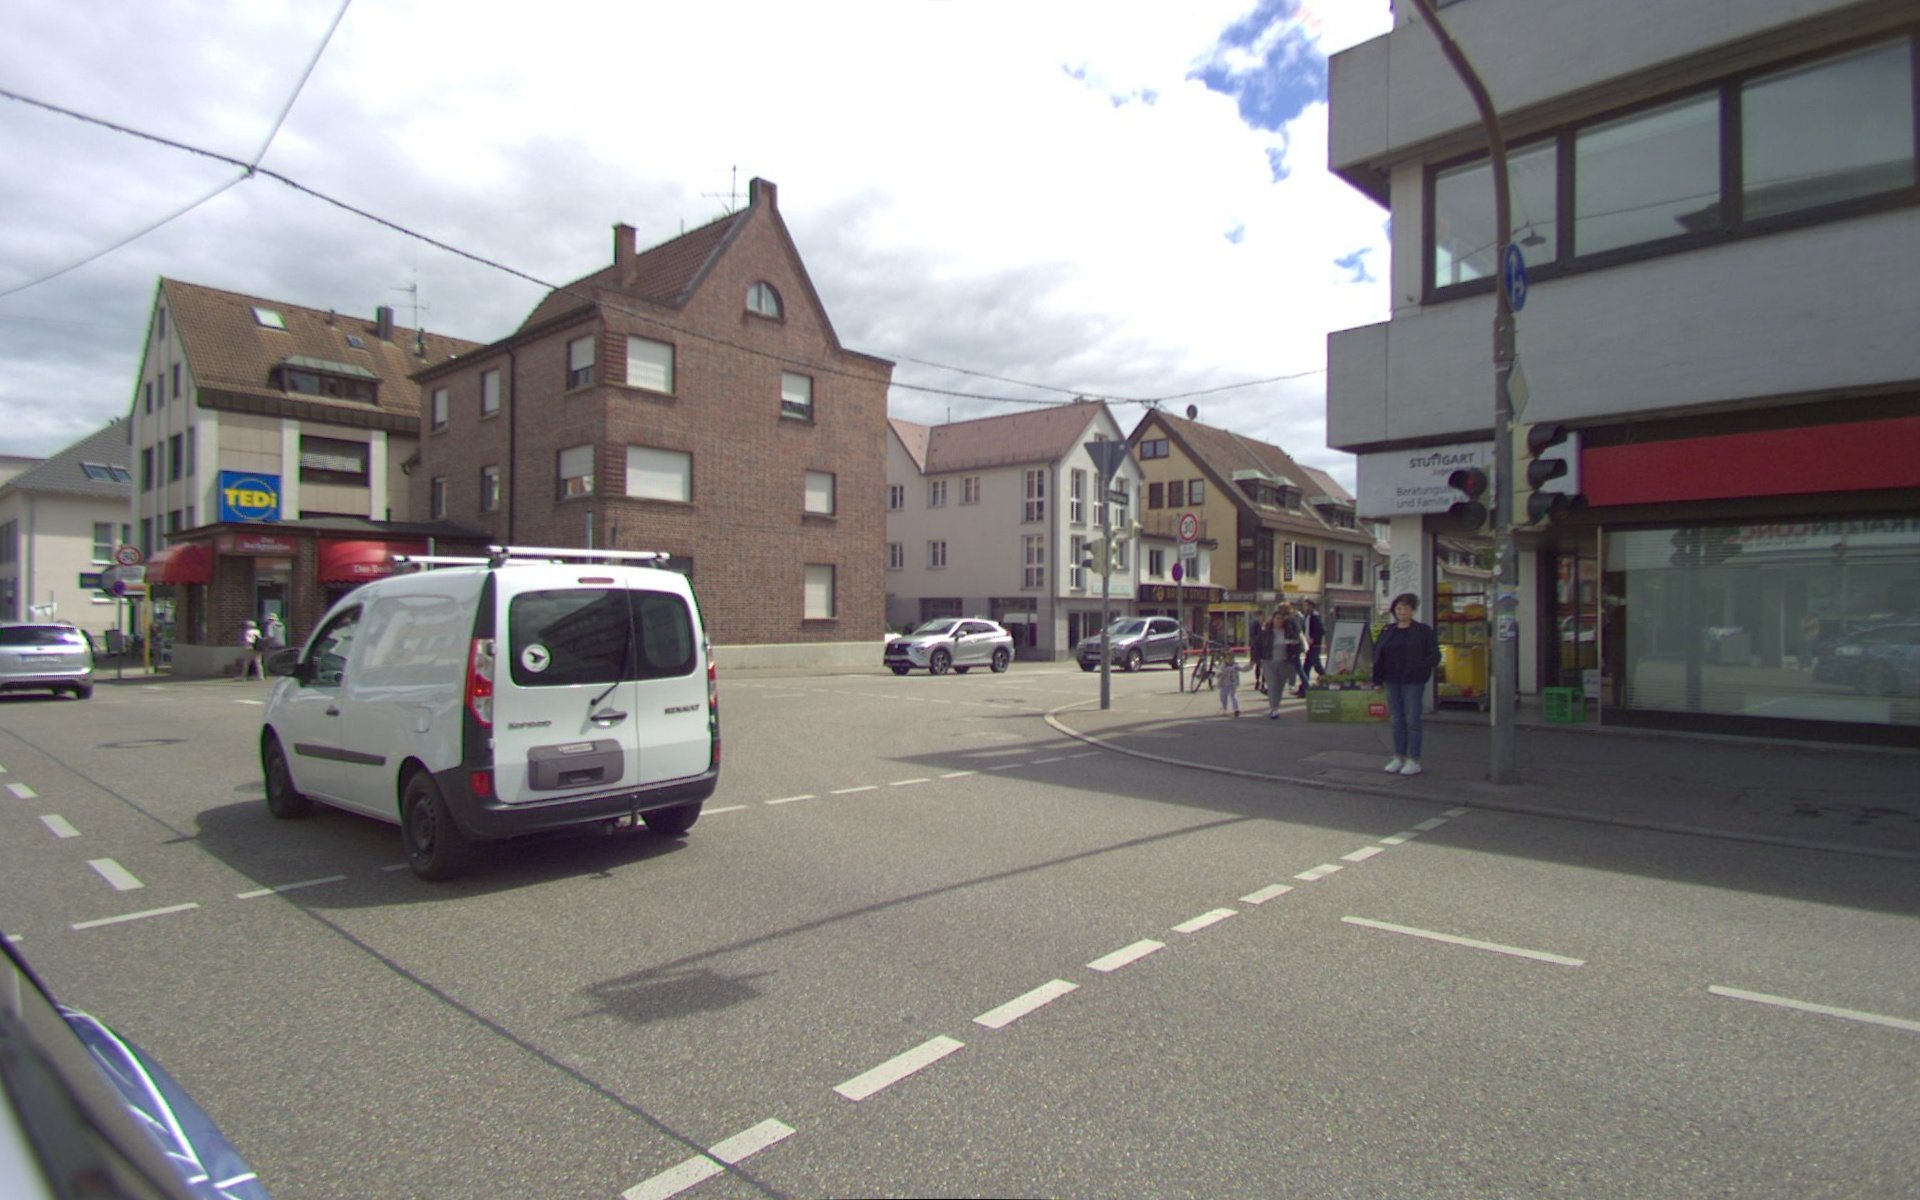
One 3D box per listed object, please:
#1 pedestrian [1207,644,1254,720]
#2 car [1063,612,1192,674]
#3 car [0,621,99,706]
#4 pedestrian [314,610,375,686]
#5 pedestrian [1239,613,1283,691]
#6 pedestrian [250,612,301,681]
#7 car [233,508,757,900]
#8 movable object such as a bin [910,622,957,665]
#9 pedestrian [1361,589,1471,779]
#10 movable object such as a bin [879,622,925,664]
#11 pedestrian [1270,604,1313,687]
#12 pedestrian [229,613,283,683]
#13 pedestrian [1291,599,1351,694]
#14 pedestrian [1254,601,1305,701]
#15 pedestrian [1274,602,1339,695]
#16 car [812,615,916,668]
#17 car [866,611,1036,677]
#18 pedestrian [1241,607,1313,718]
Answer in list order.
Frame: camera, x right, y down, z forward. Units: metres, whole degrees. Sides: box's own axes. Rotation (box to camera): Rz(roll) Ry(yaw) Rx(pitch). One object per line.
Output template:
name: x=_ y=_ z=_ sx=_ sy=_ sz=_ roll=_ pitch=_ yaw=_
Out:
pedestrian: x=3.995 y=1.204 z=14.960 sx=0.554 sy=1.065 sz=0.661 roll=-1 pitch=-1 yaw=7
car: x=5.217 y=1.311 z=31.228 sx=1.999 sy=1.768 sz=4.292 roll=-2 pitch=-3 yaw=41
car: x=-18.331 y=1.180 z=19.649 sx=3.966 sy=1.499 sz=1.735 roll=-1 pitch=-2 yaw=39
pedestrian: x=-14.314 y=1.113 z=23.550 sx=0.839 sy=1.736 sz=0.907 roll=0 pitch=-2 yaw=-1
pedestrian: x=6.335 y=1.080 z=21.346 sx=0.771 sy=1.613 sz=0.817 roll=0 pitch=-2 yaw=9
pedestrian: x=-17.564 y=1.193 z=25.973 sx=0.872 sy=1.729 sz=0.679 roll=-1 pitch=-2 yaw=23
car: x=-3.418 y=0.572 z=7.074 sx=4.110 sy=1.945 sz=1.795 roll=-2 pitch=-3 yaw=41
movable object such as a bin: x=-1.050 y=1.737 z=40.687 sx=1.145 sy=1.637 sz=1.499 roll=-1 pitch=0 yaw=44
pedestrian: x=4.210 y=0.740 z=9.343 sx=0.709 sy=1.657 sz=0.682 roll=0 pitch=-1 yaw=-44
movable object such as a bin: x=-2.389 y=1.754 z=41.701 sx=1.145 sy=1.637 sz=1.499 roll=-1 pitch=0 yaw=44
pedestrian: x=7.156 y=0.966 z=21.830 sx=0.815 sy=1.753 sz=0.840 roll=-1 pitch=-1 yaw=20
pedestrian: x=-17.674 y=1.194 z=25.414 sx=0.790 sy=1.708 sz=0.773 roll=-1 pitch=-2 yaw=23
pedestrian: x=6.623 y=0.839 z=18.600 sx=0.768 sy=1.706 sz=0.819 roll=0 pitch=-2 yaw=-2
pedestrian: x=5.805 y=0.904 z=18.381 sx=0.815 sy=1.753 sz=0.840 roll=-1 pitch=-1 yaw=20
pedestrian: x=6.195 y=0.858 z=18.096 sx=0.768 sy=1.613 sz=0.820 roll=2 pitch=-3 yaw=-44
car: x=-3.592 y=1.530 z=37.576 sx=3.700 sy=1.877 sz=1.845 roll=-2 pitch=-2 yaw=41
car: x=-0.177 y=1.297 z=30.002 sx=2.000 sy=1.782 sz=5.184 roll=-3 pitch=-3 yaw=43
pedestrian: x=4.628 y=0.892 z=14.818 sx=0.811 sy=1.566 sz=0.844 roll=-1 pitch=-1 yaw=6
